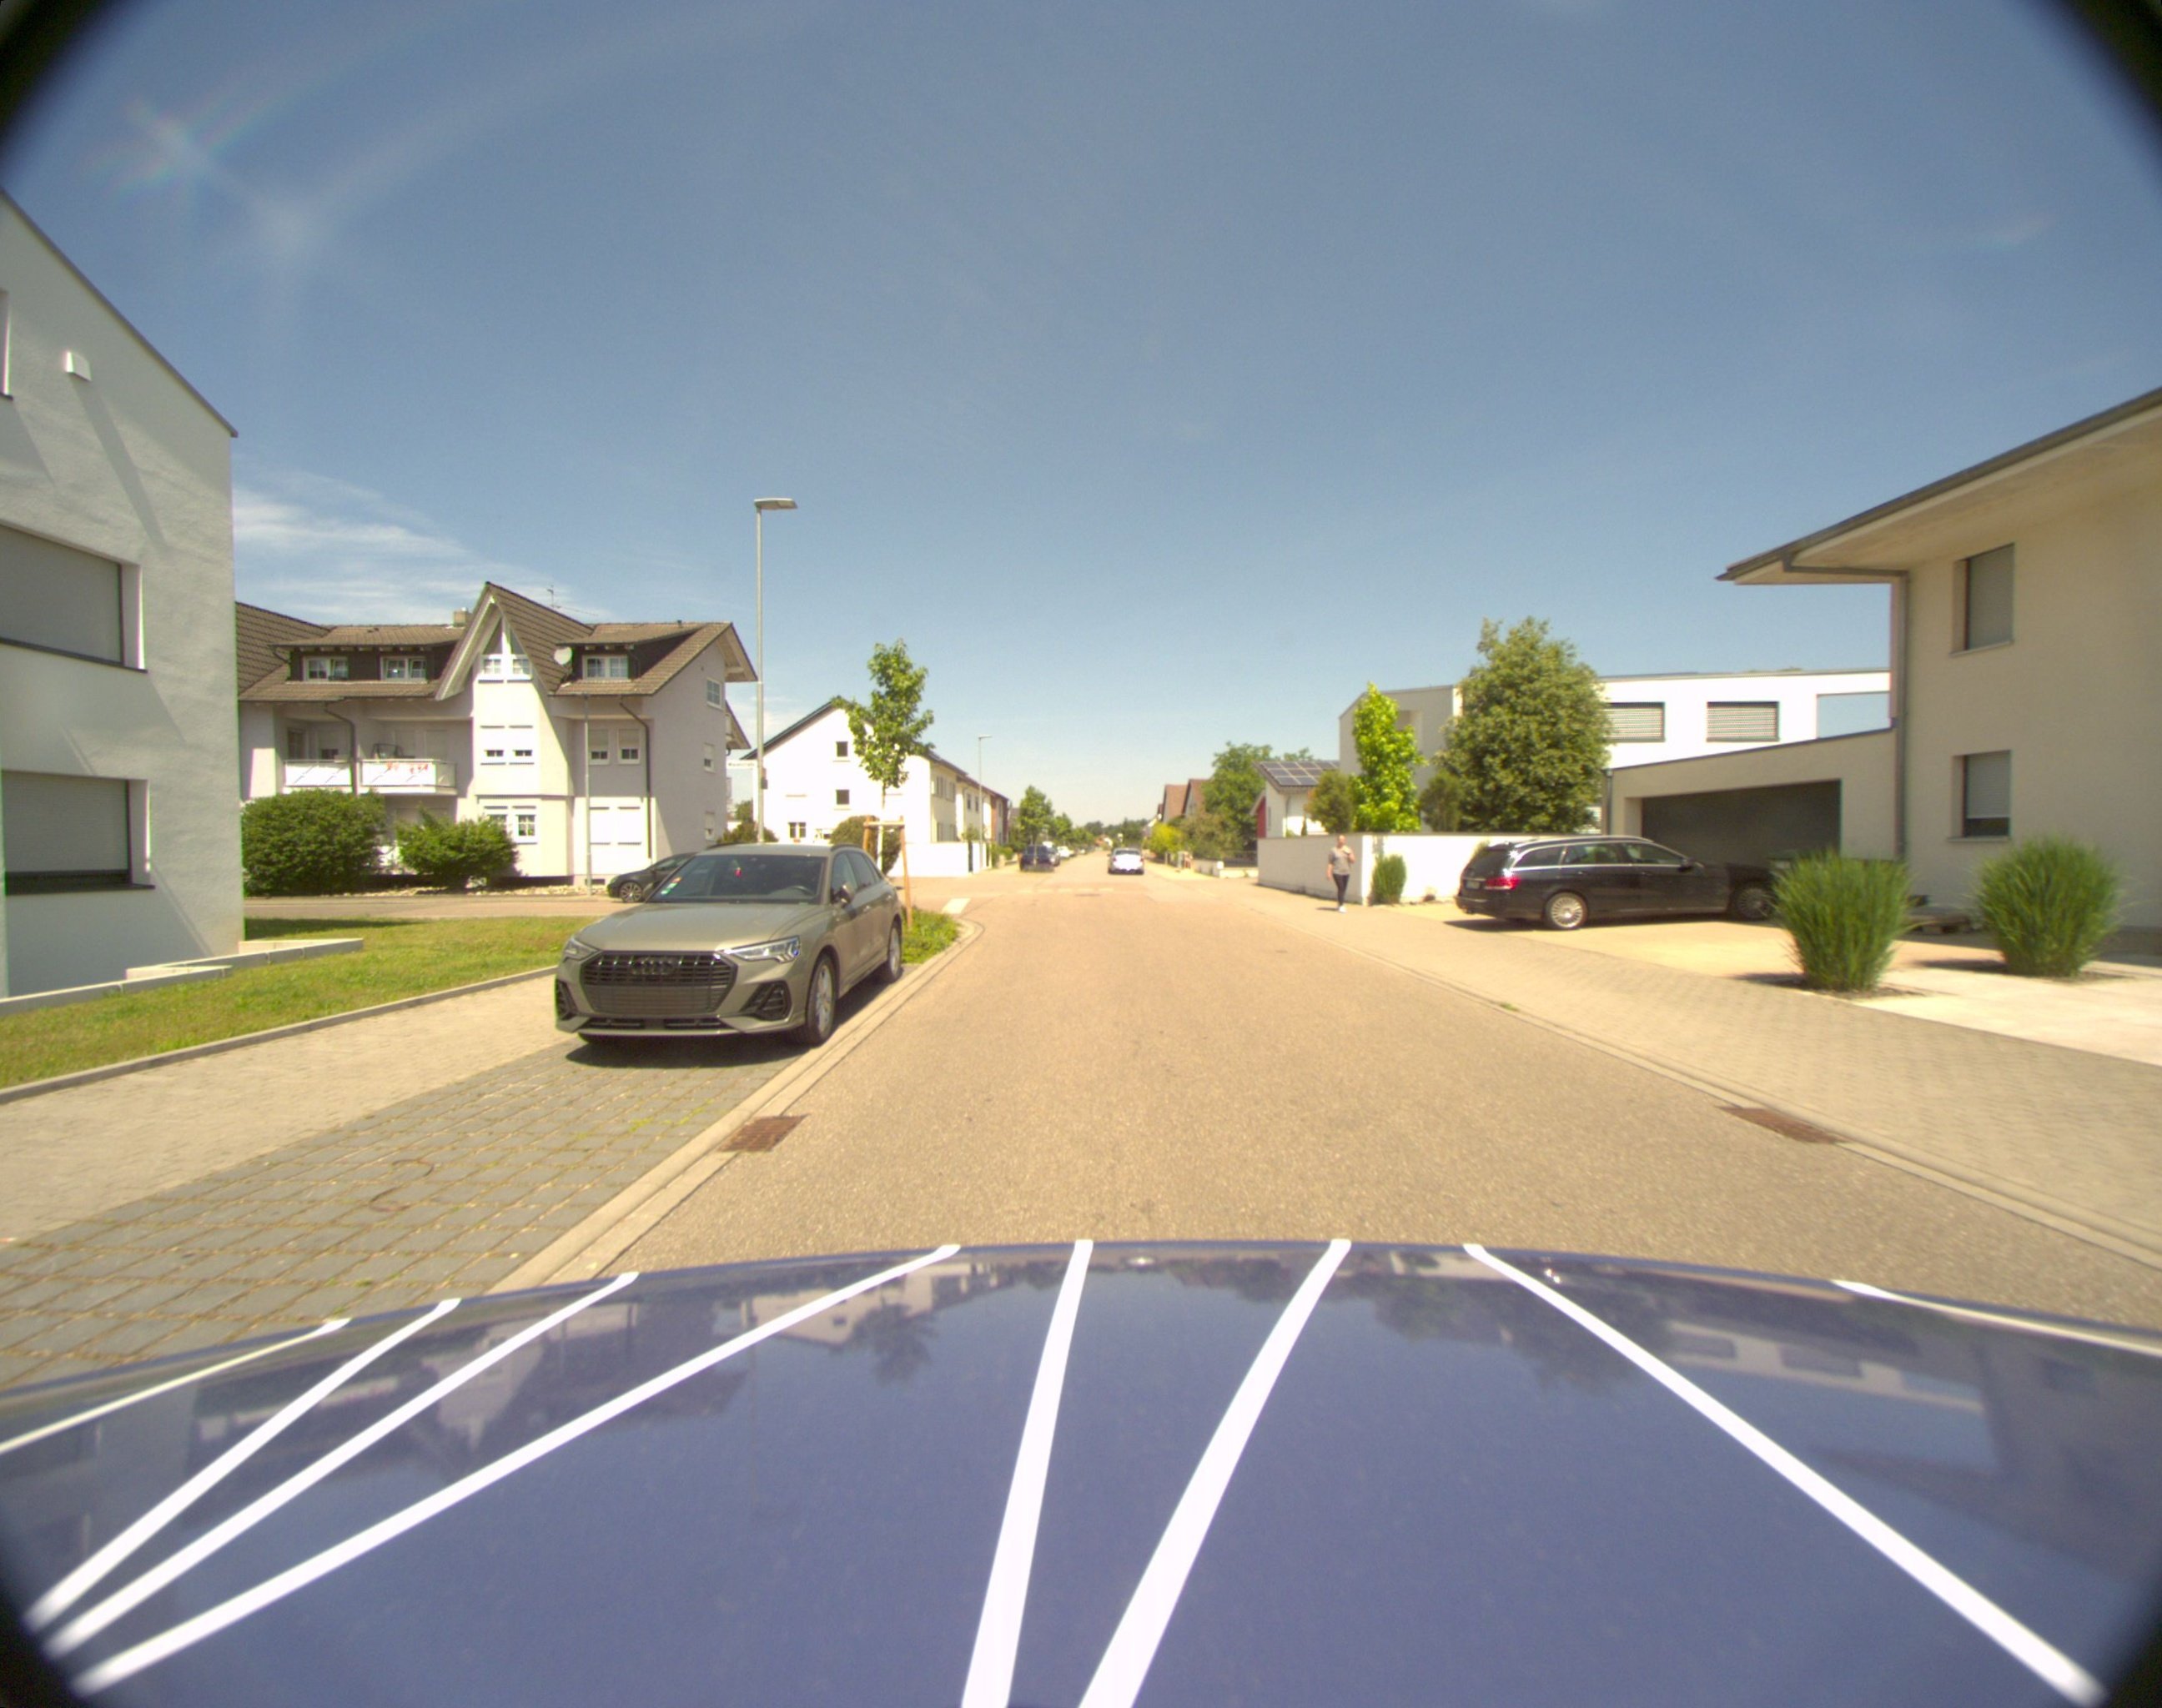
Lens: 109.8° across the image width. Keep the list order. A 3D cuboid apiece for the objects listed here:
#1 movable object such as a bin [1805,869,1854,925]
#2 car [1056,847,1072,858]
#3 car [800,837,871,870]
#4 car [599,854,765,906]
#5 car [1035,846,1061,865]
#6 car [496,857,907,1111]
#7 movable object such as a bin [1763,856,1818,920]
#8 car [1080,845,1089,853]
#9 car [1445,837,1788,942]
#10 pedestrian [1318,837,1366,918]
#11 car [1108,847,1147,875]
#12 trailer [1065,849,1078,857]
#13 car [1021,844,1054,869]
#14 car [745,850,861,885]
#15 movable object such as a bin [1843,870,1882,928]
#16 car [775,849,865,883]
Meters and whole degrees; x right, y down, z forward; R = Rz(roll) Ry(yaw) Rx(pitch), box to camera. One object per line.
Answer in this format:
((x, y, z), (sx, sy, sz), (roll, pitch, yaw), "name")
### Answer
((12.215, 0.691, 12.410), (0.311, 0.878, 0.476), (-1, 1, -6), "movable object such as a bin")
((-2.020, -0.189, 92.489), (1.819, 1.412, 3.867), (0, 1, 0), "car")
((-13.661, -0.048, 42.426), (3.395, 1.802, 1.771), (0, 1, -1), "car")
((-11.793, 0.730, 22.701), (4.004, 1.459, 1.755), (0, 1, -7), "car")
((-2.587, 0.110, 60.326), (1.819, 1.412, 4.092), (0, 1, 1), "car")
((-2.941, 0.847, 7.069), (1.778, 1.586, 4.277), (0, 1, -2), "car")
((12.194, 0.577, 13.068), (0.385, 1.067, 0.589), (-1, 1, -6), "movable object such as a bin")
((0.758, -1.022, 162.065), (1.597, 1.630, 3.803), (0, 1, 5), "car")
((8.879, 0.562, 12.937), (4.438, 1.465, 1.851), (-3, 1, 4), "car")
((5.787, 0.506, 16.878), (0.716, 1.737, 0.960), (-1, 1, 1), "pedestrian")
((2.616, 0.373, 43.826), (1.858, 1.470, 4.699), (2, 0, -1), "car")
((-1.329, -0.151, 107.885), (1.792, 1.052, 2.899), (0, 1, 2), "trailer")
((-2.857, 0.160, 50.768), (1.819, 1.646, 4.564), (0, 0, 1), "car")
((-11.433, 0.540, 31.444), (4.213, 1.366, 1.664), (0, 1, -3), "car")
((12.244, 0.693, 11.902), (0.184, 0.878, 0.394), (-1, 1, -6), "movable object such as a bin")
((-11.557, 0.521, 33.847), (3.454, 1.486, 1.664), (0, 1, -3), "car")
